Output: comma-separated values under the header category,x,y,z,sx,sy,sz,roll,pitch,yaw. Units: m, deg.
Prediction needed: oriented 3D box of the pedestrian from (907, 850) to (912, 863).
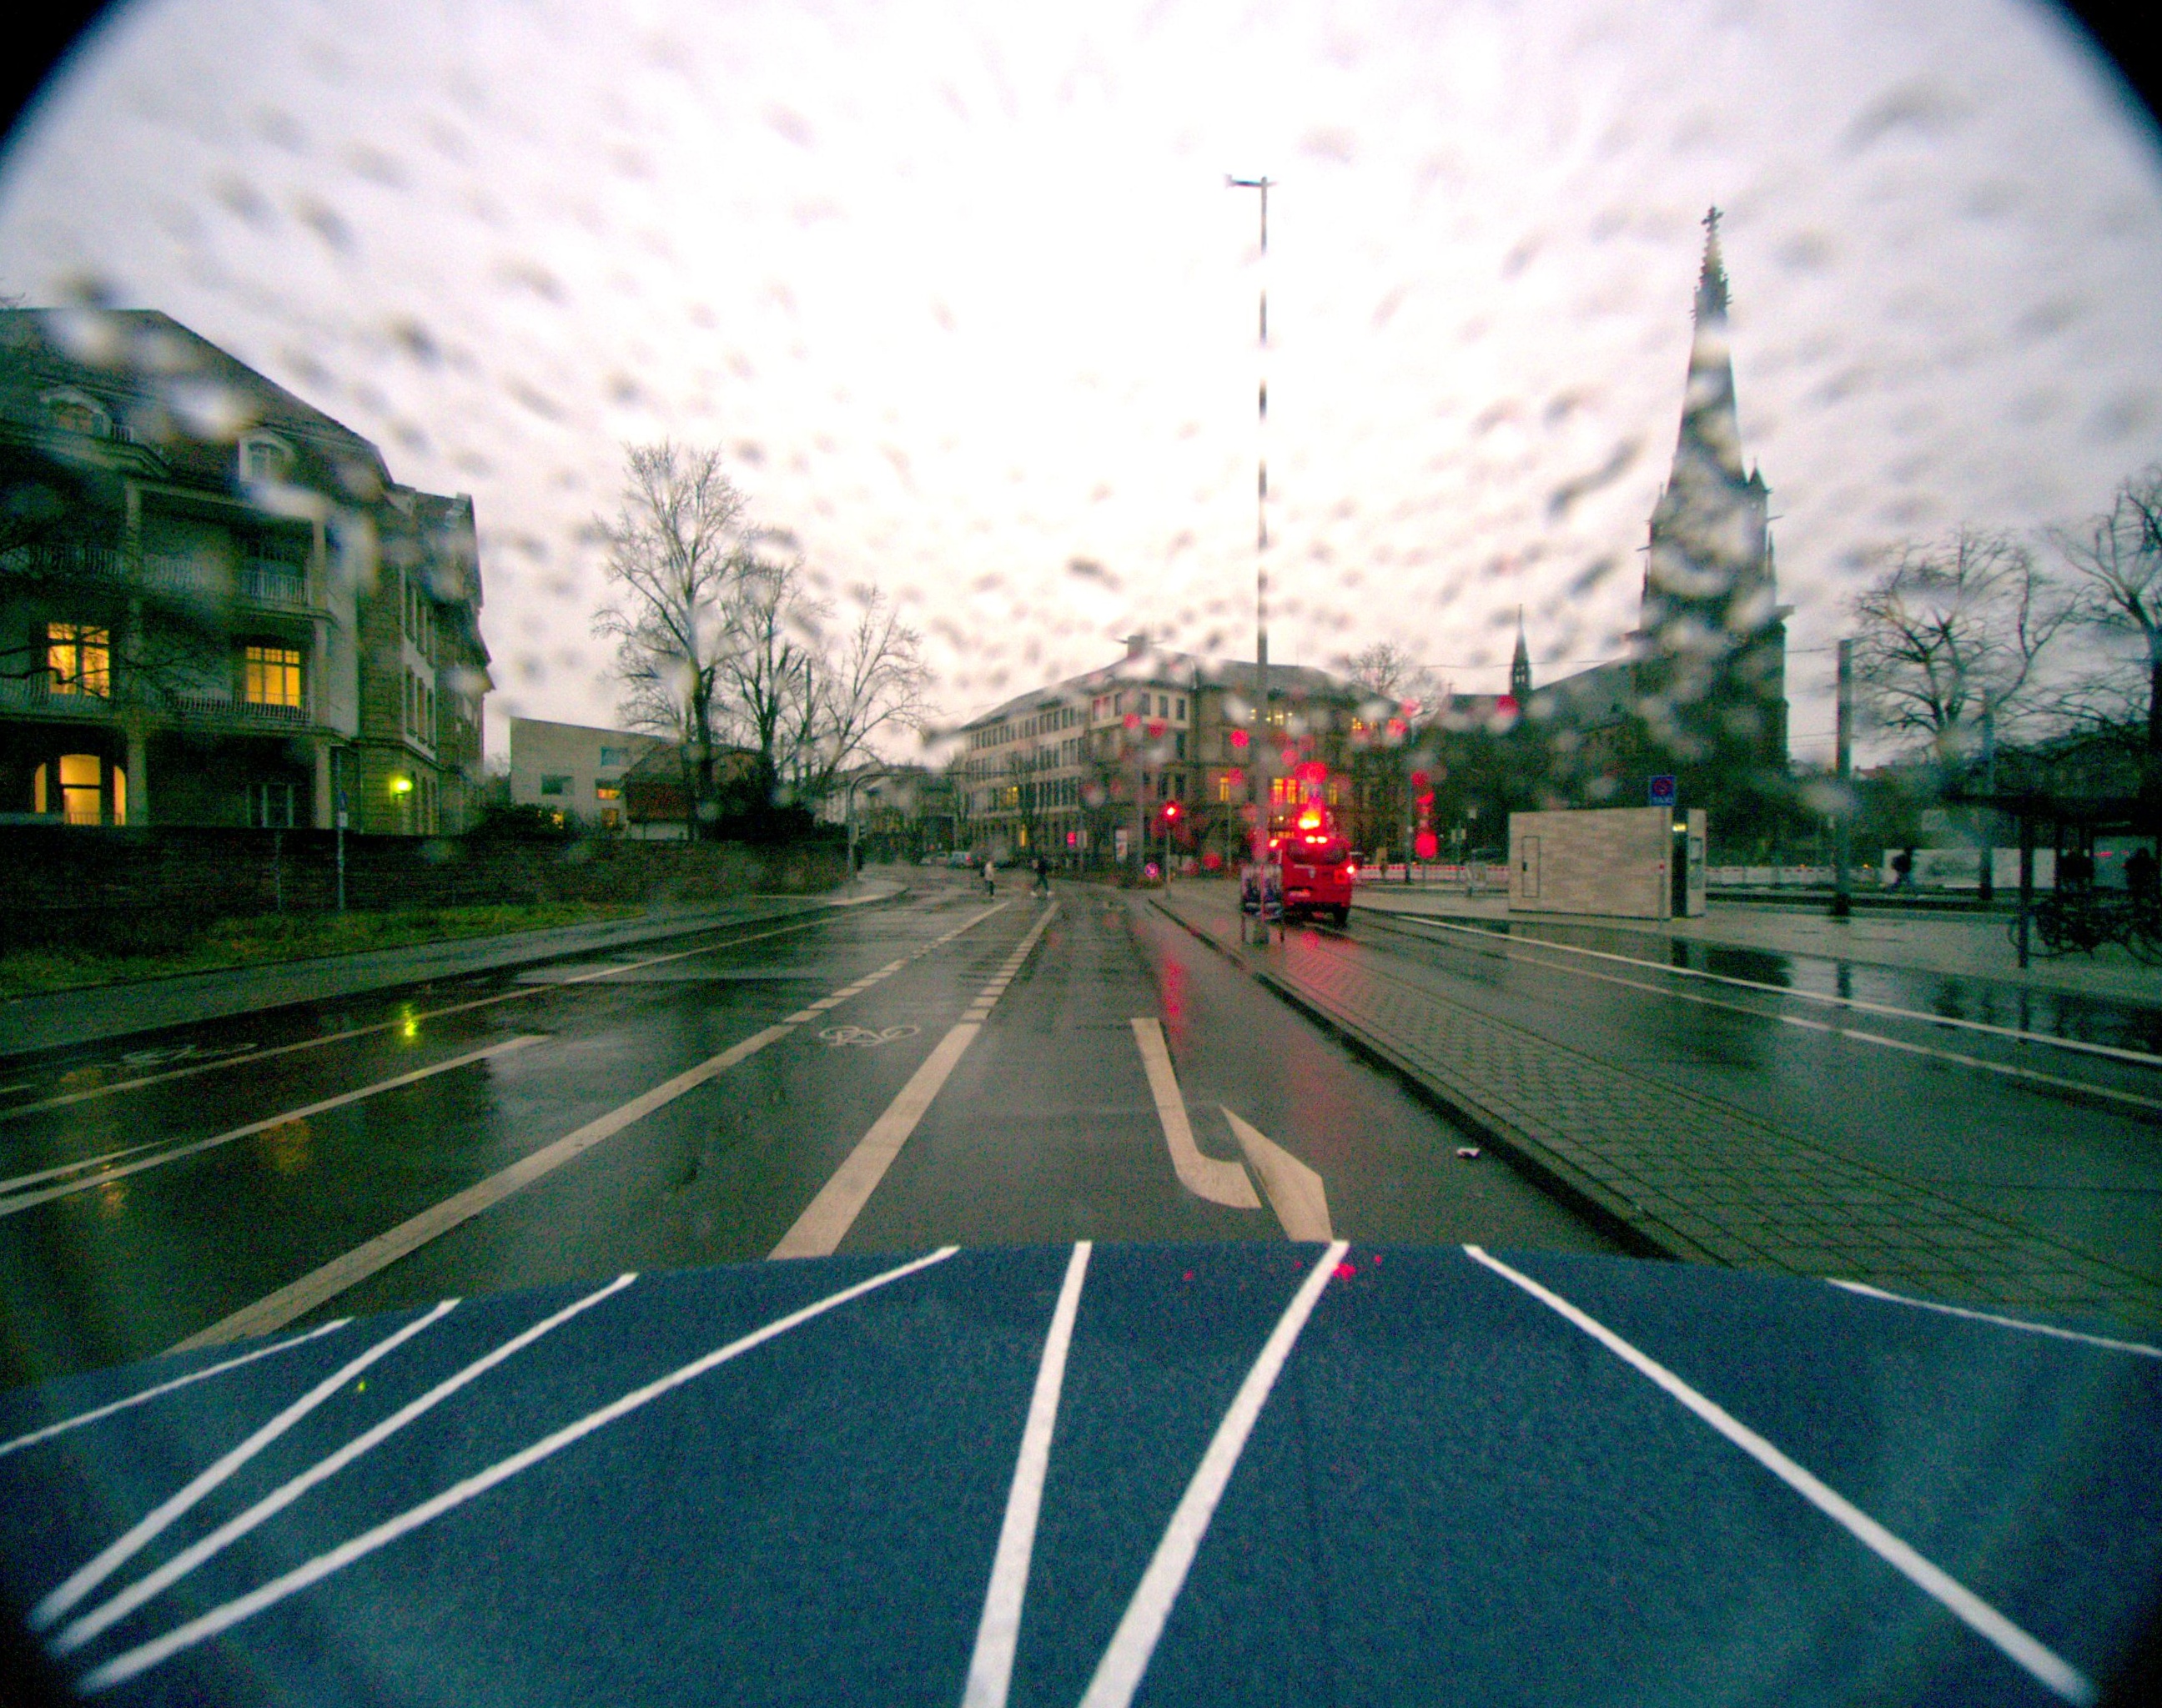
category,x,y,z,sx,sy,sz,roll,pitch,yaw
pedestrian,-25.741,0.337,114.091,0.474,2.002,0.547,1,1,6

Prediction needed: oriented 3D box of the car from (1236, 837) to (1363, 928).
category,x,y,z,sx,sy,sz,roll,pitch,yaw
car,5.493,0.656,19.772,1.929,2.058,4.643,1,0,0

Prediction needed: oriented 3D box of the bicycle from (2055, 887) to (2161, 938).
category,x,y,z,sx,sy,sz,roll,pitch,yaw
bicycle,20.851,1.158,15.009,0.475,0.905,1.921,-2,2,-30

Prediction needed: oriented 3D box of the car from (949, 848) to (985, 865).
category,x,y,z,sx,sy,sz,roll,pitch,yaw
car,-13.302,0.269,88.481,3.989,1.835,1.888,-2,1,41

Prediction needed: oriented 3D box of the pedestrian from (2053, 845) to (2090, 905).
category,x,y,z,sx,sy,sz,roll,pitch,yaw
pedestrian,30.239,0.639,23.206,0.673,1.785,0.626,-3,2,-41

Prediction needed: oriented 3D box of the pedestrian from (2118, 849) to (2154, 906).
category,x,y,z,sx,sy,sz,roll,pitch,yaw
pedestrian,31.052,0.688,22.378,0.541,1.642,0.562,-3,2,-41

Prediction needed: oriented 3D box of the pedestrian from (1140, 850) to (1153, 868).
category,x,y,z,sx,sy,sz,roll,pitch,yaw
pedestrian,6.480,0.466,74.857,0.829,1.714,0.926,0,0,-37

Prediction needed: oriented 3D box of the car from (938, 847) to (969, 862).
category,x,y,z,sx,sy,sz,roll,pitch,yaw
car,-16.987,0.070,101.466,2.043,1.889,4.007,-2,1,28

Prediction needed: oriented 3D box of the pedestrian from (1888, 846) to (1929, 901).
category,x,y,z,sx,sy,sz,roll,pitch,yaw
pedestrian,27.728,0.652,25.457,0.671,1.785,0.825,-3,1,-33

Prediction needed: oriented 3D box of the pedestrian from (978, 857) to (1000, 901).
category,x,y,z,sx,sy,sz,roll,pitch,yaw
pedestrian,-3.649,0.971,30.303,0.798,1.713,0.674,1,1,-3

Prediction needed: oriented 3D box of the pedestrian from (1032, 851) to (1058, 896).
category,x,y,z,sx,sy,sz,roll,pitch,yaw
pedestrian,-1.525,0.813,32.424,1.000,1.890,0.673,1,1,-12

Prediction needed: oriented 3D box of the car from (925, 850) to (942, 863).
category,x,y,z,sx,sy,sz,roll,pitch,yaw
car,-20.727,0.366,106.841,2.000,1.660,3.997,-2,1,-7

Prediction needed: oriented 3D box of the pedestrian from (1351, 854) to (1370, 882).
category,x,y,z,sx,sy,sz,roll,pitch,yaw
pedestrian,19.460,0.945,52.847,0.675,1.890,0.971,0,1,-34

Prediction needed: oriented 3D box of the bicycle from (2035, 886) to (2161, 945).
category,x,y,z,sx,sy,sz,roll,pitch,yaw
bicycle,19.695,1.166,14.419,0.475,0.980,1.921,-2,2,-30

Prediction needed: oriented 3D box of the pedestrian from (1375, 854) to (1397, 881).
category,x,y,z,sx,sy,sz,roll,pitch,yaw
pedestrian,19.619,0.847,48.856,0.773,1.651,1.207,-2,1,-7

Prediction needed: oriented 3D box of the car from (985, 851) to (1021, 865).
category,x,y,z,sx,sy,sz,roll,pitch,yaw
car,-9.272,0.476,90.530,1.797,1.541,4.007,-1,1,45

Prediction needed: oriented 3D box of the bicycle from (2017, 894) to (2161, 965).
category,x,y,z,sx,sy,sz,roll,pitch,yaw
bicycle,16.620,1.211,12.208,0.475,0.980,1.921,-2,2,-30

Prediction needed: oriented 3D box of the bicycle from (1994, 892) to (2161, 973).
category,x,y,z,sx,sy,sz,roll,pitch,yaw
bicycle,15.501,1.178,11.603,0.475,1.064,1.921,-2,2,-30
